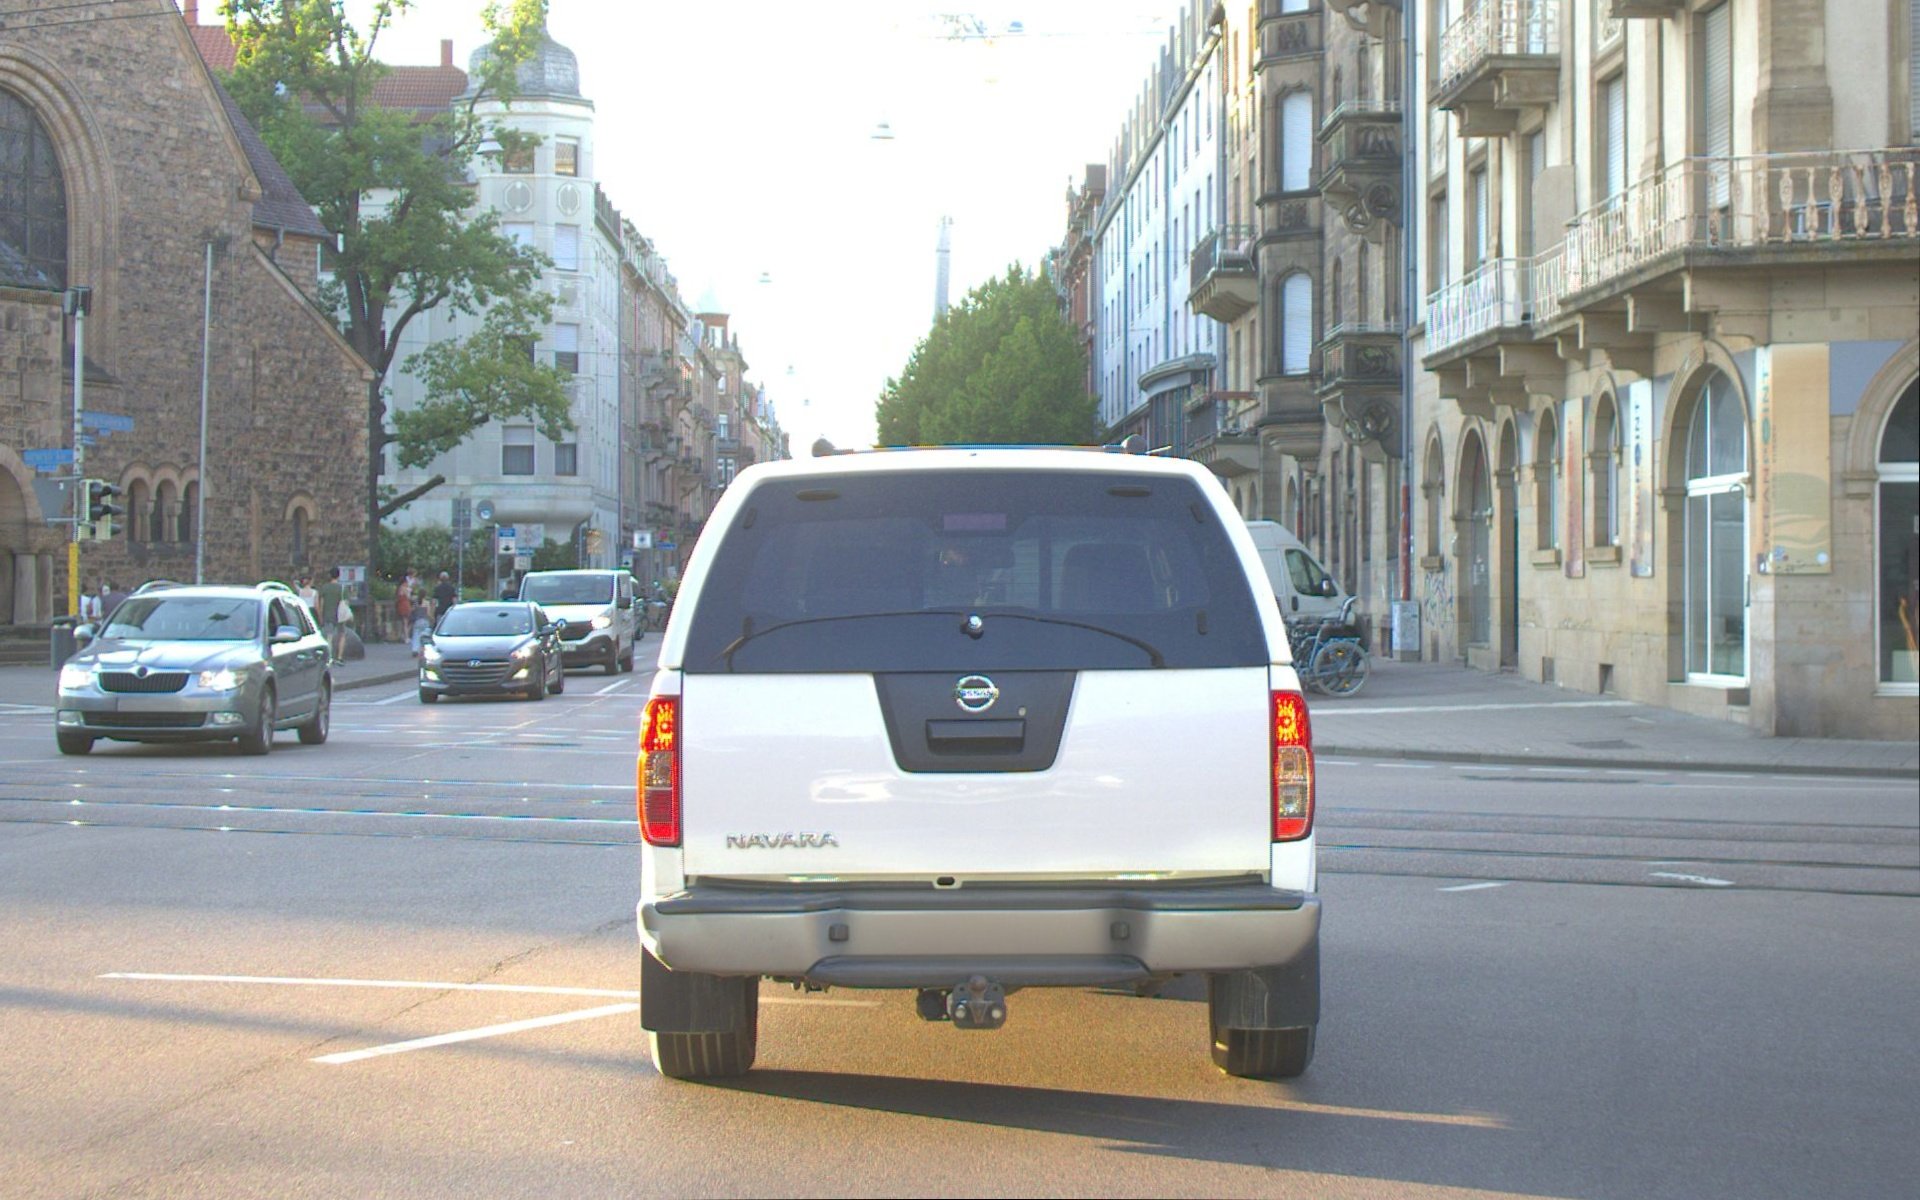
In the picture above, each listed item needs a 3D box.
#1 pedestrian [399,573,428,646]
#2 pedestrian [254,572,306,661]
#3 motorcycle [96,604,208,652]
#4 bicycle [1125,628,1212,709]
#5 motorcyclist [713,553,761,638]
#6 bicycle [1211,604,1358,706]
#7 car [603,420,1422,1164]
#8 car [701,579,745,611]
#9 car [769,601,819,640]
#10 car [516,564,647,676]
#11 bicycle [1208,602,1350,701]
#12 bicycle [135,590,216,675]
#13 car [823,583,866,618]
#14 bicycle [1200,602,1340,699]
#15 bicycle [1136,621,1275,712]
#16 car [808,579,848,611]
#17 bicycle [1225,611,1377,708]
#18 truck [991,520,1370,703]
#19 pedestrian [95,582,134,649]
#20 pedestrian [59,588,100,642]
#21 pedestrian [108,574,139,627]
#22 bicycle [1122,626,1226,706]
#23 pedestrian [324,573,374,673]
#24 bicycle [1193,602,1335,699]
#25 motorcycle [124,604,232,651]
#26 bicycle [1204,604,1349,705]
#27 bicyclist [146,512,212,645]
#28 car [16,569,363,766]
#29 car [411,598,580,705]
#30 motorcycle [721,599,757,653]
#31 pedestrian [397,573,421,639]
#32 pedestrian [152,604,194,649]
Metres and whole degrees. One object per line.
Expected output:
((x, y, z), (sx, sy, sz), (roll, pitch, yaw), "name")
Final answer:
((-13.993, 0.249, 88.063), (0.642, 1.849, 0.562), (1, 0, -14), "pedestrian")
((-12.907, 0.308, 65.273), (0.812, 1.664, 0.859), (1, 0, -2), "pedestrian")
((-17.383, 0.599, 73.976), (2.243, 0.984, 0.708), (1, 0, -5), "motorcycle")
((2.763, 0.906, 45.559), (1.077, 1.021, 0.317), (-3, 0, -2), "bicycle")
((-4.355, -0.080, 67.134), (0.874, 1.639, 0.963), (1, 0, -1), "motorcyclist")
((4.256, 0.715, 45.131), (1.817, 1.234, 0.488), (-3, 0, -2), "bicycle")
((0.136, 0.482, 10.525), (1.993, 1.803, 4.000), (1, 0, 0), "car")
((-11.469, -0.240, 166.687), (1.858, 1.524, 4.000), (1, 0, -1), "car")
((-6.606, 0.817, 137.056), (1.858, 1.524, 4.000), (1, 0, -1), "car")
((-7.027, 0.373, 64.243), (1.993, 2.007, 4.950), (0, 0, -1), "car")
((4.322, 0.693, 46.567), (1.817, 1.234, 0.412), (-3, 0, -2), "bicycle")
((-9.862, 0.401, 43.273), (0.599, 1.040, 1.946), (1, 0, -1), "bicycle")
((-5.304, 0.031, 158.664), (1.858, 1.524, 4.000), (1, 0, -1), "car")
((4.251, 0.694, 47.173), (1.817, 1.234, 0.410), (-3, 0, -2), "bicycle")
((3.185, 0.865, 44.669), (1.726, 1.080, 0.317), (-3, 0, -2), "bicycle")
((-6.490, -0.222, 168.990), (1.920, 1.524, 4.000), (1, 0, -3), "car")
((4.378, 0.757, 44.188), (1.817, 1.146, 0.636), (-3, 0, -2), "bicycle")
((3.312, 0.167, 50.764), (5.657, 2.556, 2.286), (1, 0, -43), "truck")
((-15.831, 0.287, 64.370), (0.478, 1.241, 0.523), (1, 0, 18), "pedestrian")
((-16.047, 0.274, 62.666), (0.522, 0.957, 0.479), (1, 0, 18), "pedestrian")
((-15.210, 0.003, 62.528), (0.521, 0.957, 0.479), (1, 0, -15), "pedestrian")
((2.910, 0.899, 46.815), (1.333, 1.021, 0.317), (-3, 0, -2), "bicycle")
((-11.611, 0.437, 65.326), (0.812, 1.894, 0.666), (1, 0, -2), "pedestrian")
((4.209, 0.697, 47.705), (1.855, 1.234, 0.531), (-3, 0, -2), "bicycle")
((-17.282, 0.609, 76.002), (2.243, 0.984, 0.708), (1, 0, -5), "motorcycle")
((4.219, 0.722, 45.842), (1.817, 1.234, 0.478), (-3, 0, -2), "bicycle")
((-9.821, -0.267, 43.258), (0.599, 1.639, 0.963), (1, 0, -1), "bicyclist")
((-6.747, 0.532, 30.639), (1.993, 1.552, 4.769), (0, 1, 0), "car")
((-6.847, 0.731, 51.023), (1.993, 1.472, 4.140), (-1, 0, -1), "car")
((-4.308, 0.504, 67.068), (0.599, 1.040, 1.946), (1, 0, -1), "motorcycle")
((-14.241, 0.165, 88.905), (0.560, 1.690, 0.645), (1, 0, -7), "pedestrian")
((-16.946, 0.567, 74.049), (0.552, 0.957, 0.709), (1, 0, 21), "pedestrian")
